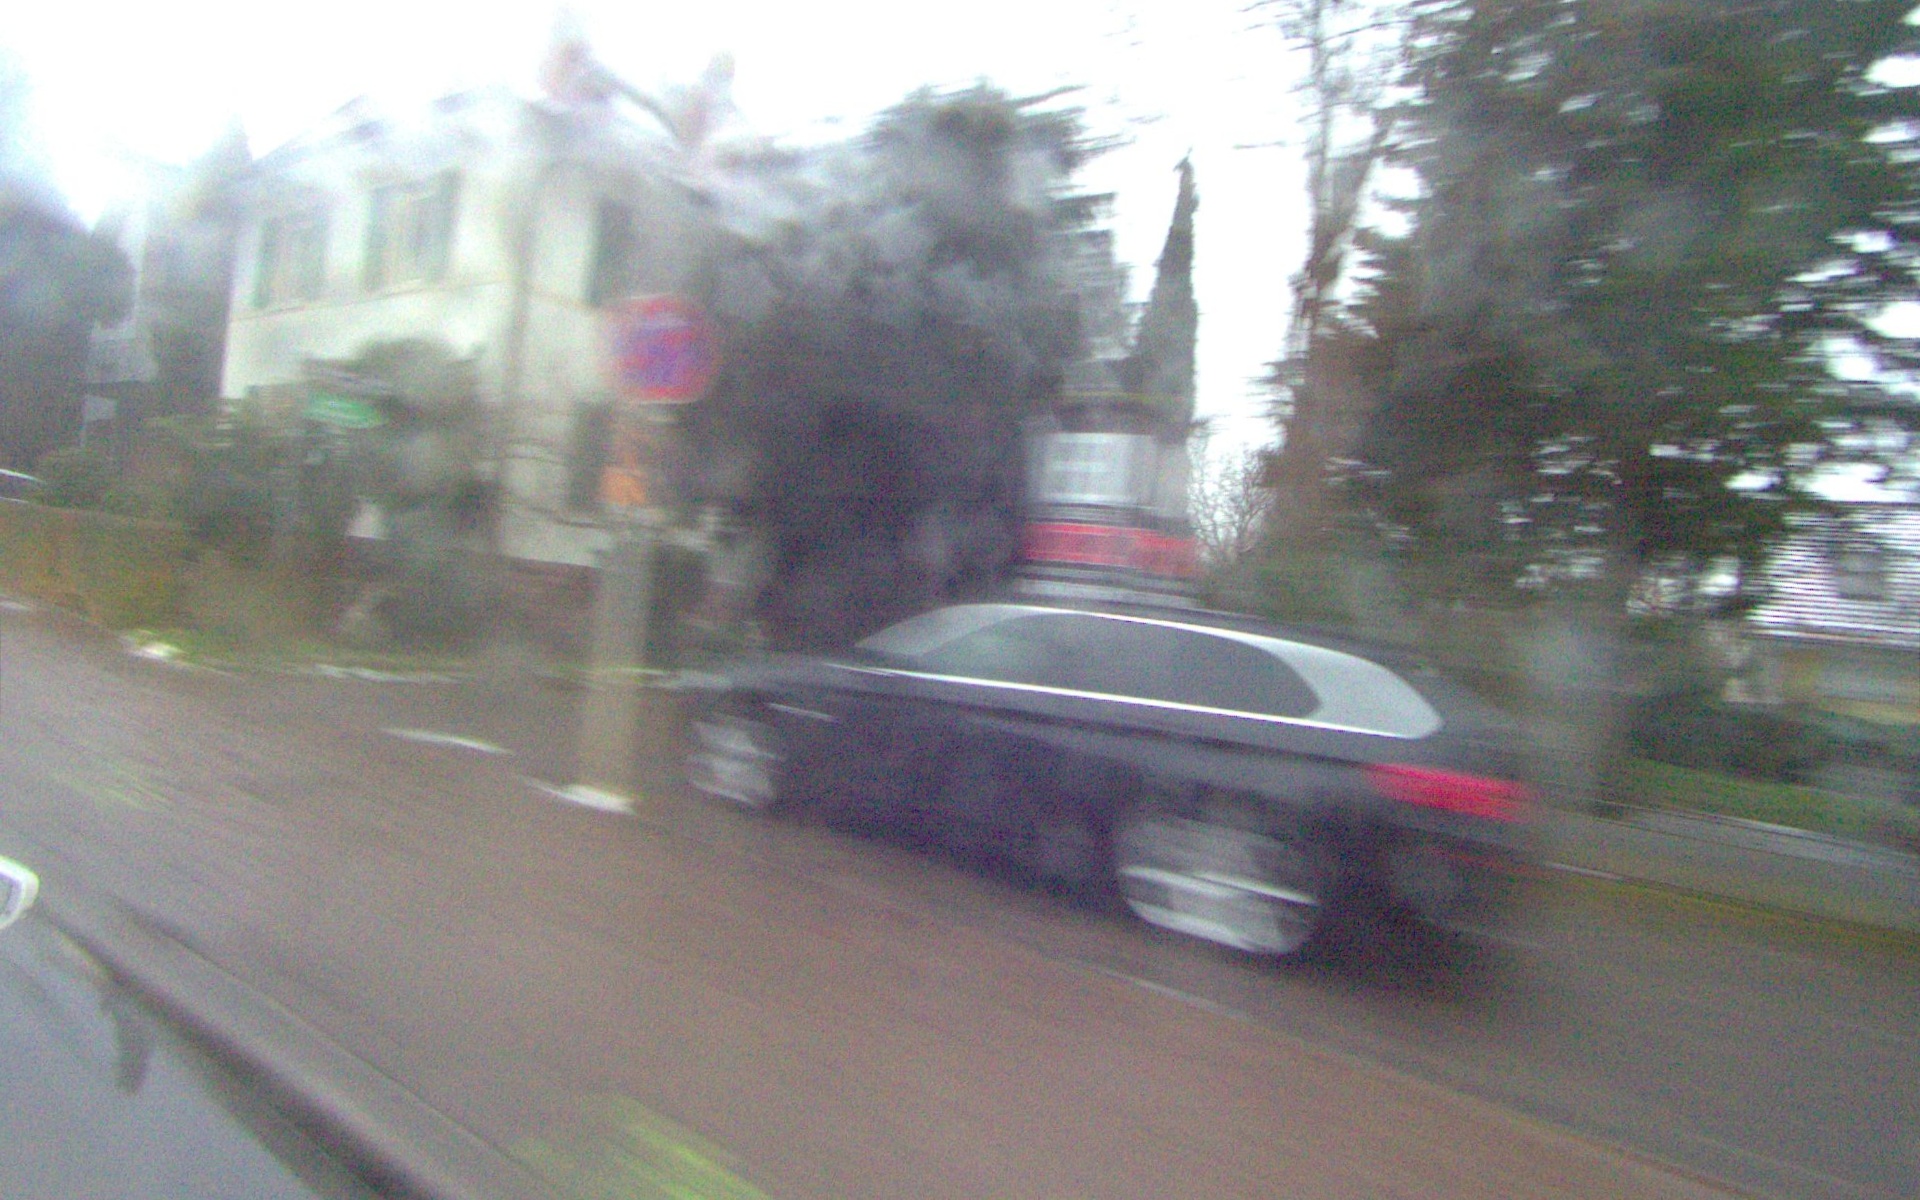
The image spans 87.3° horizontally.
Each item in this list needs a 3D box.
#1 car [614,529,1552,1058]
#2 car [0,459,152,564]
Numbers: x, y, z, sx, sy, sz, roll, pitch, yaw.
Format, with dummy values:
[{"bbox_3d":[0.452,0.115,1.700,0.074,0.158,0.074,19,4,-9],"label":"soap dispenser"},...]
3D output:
[{"bbox_3d":[0.479,0.668,5.578,4.676,1.573,1.896,7,0,32],"label":"car"},{"bbox_3d":[-18.224,-1.771,18.872,1.967,1.755,4.324,7,2,32],"label":"car"}]
